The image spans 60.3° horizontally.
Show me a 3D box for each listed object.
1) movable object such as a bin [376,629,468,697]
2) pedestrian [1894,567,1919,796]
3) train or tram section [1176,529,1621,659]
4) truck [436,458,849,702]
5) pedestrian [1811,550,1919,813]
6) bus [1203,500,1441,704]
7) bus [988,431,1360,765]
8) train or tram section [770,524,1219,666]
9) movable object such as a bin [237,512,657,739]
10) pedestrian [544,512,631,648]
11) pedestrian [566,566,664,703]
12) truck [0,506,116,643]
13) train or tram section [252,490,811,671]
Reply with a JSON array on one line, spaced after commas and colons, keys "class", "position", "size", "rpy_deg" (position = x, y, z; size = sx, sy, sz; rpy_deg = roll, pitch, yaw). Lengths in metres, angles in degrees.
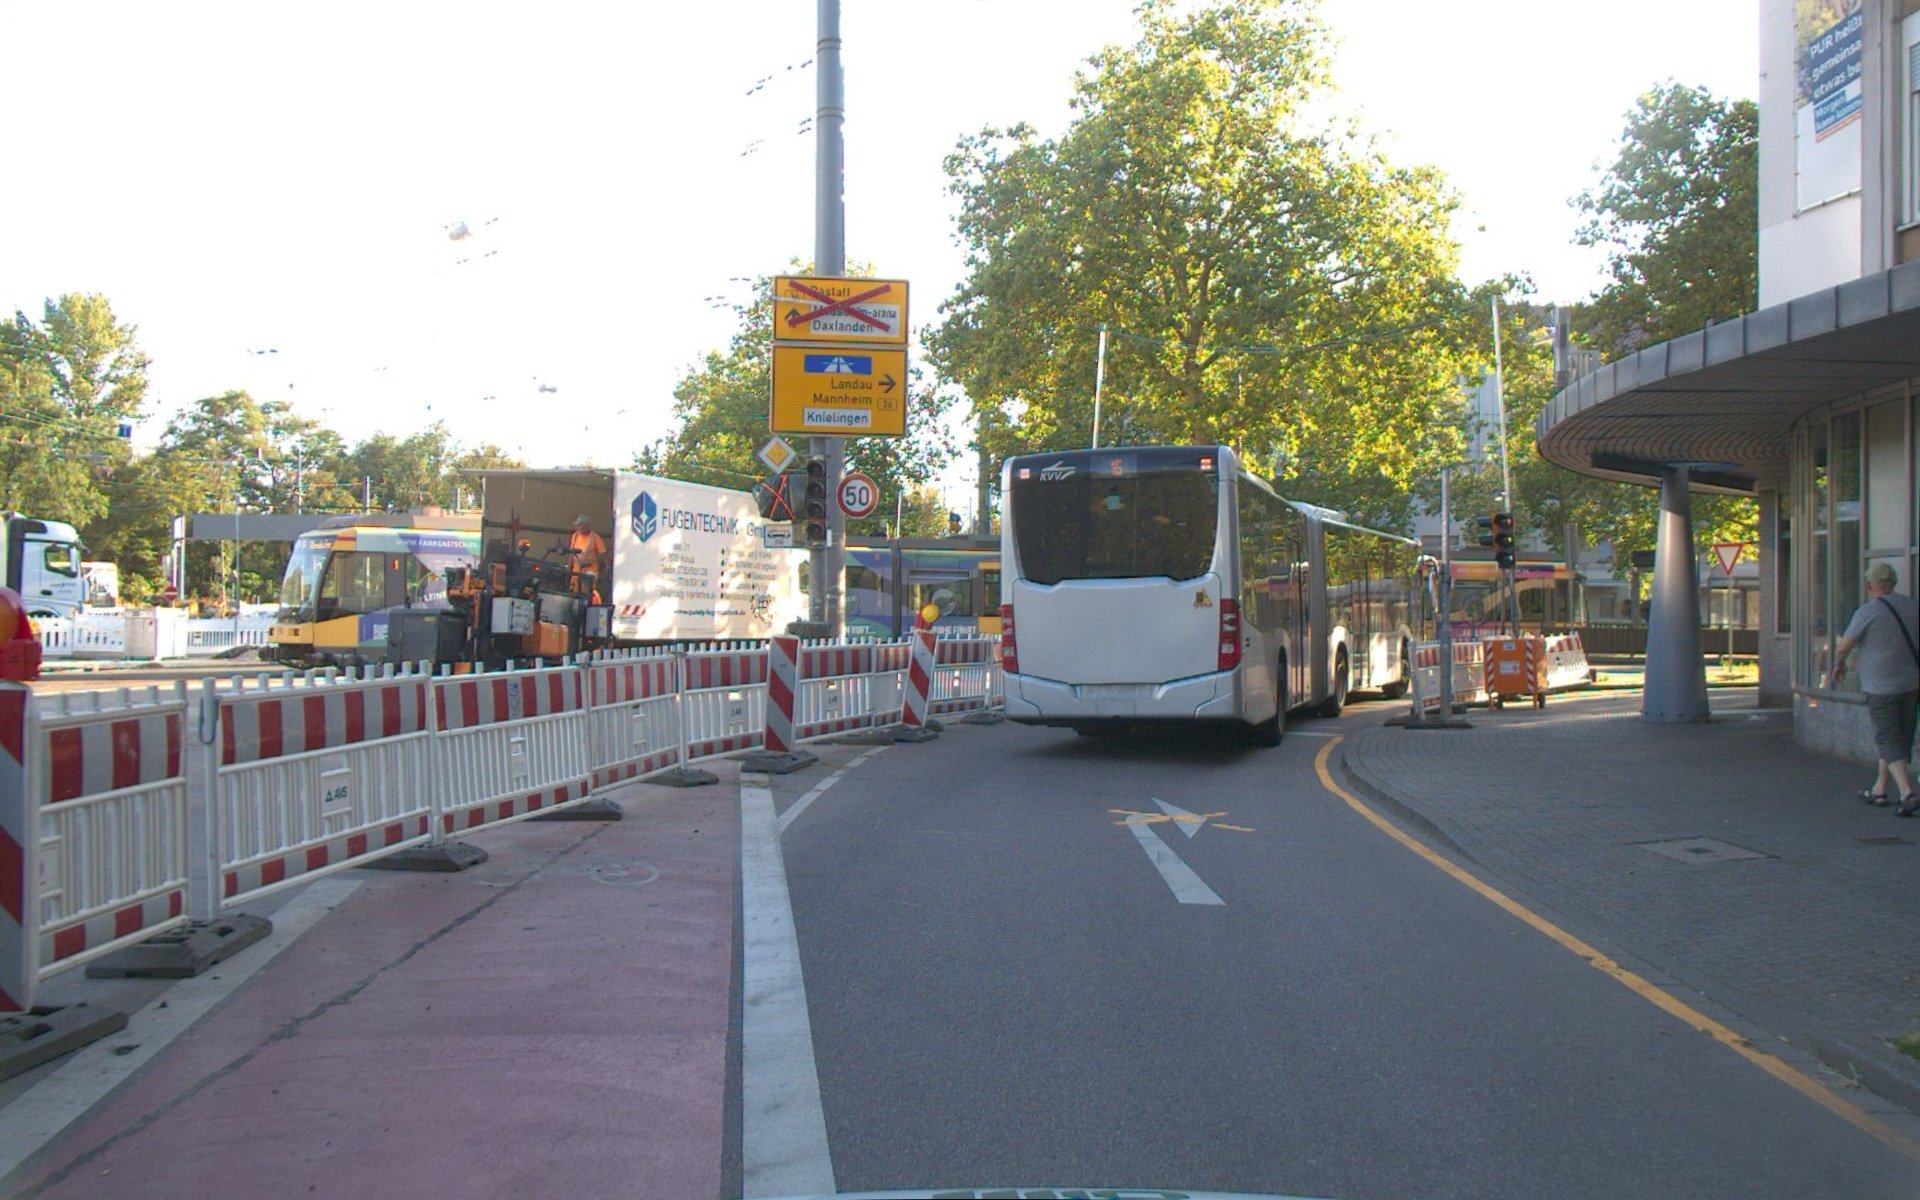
[{"class": "movable object such as a bin", "position": [-7.740, 0.896, 23.848], "size": [0.914, 0.933, 1.419], "rpy_deg": [1, -1, -3]}, {"class": "pedestrian", "position": [7.014, 0.565, 11.417], "size": [0.620, 1.601, 0.773], "rpy_deg": [-2, 1, -6]}, {"class": "train or tram section", "position": [13.162, -0.128, 49.719], "size": [13.047, 3.581, 2.643], "rpy_deg": [1, -1, -10]}, {"class": "truck", "position": [-5.119, -0.286, 29.093], "size": [2.754, 3.603, 8.983], "rpy_deg": [1, 0, 21]}, {"class": "pedestrian", "position": [6.379, 0.538, 11.409], "size": [0.571, 1.738, 0.678], "rpy_deg": [-2, 0, -6]}, {"class": "bus", "position": [6.904, 0.026, 30.349], "size": [2.654, 3.161, 8.977], "rpy_deg": [0, 0, 23]}, {"class": "bus", "position": [3.278, -0.019, 21.326], "size": [2.676, 3.194, 10.707], "rpy_deg": [0, 0, 19]}, {"class": "train or tram section", "position": [1.139, -0.013, 46.240], "size": [12.569, 3.611, 2.718], "rpy_deg": [1, -1, -23]}, {"class": "movable object such as a bin", "position": [-5.867, 0.258, 19.773], "size": [1.953, 2.296, 5.208], "rpy_deg": [2, 0, 21]}, {"class": "pedestrian", "position": [-5.738, -0.318, 25.538], "size": [0.917, 2.049, 1.002], "rpy_deg": [1, 1, 19]}, {"class": "pedestrian", "position": [-4.737, 0.460, 22.769], "size": [0.952, 1.829, 1.070], "rpy_deg": [1, 0, 11]}, {"class": "truck", "position": [-29.308, -0.748, 45.727], "size": [2.847, 3.856, 10.378], "rpy_deg": [0, -1, 40]}, {"class": "train or tram section", "position": [-9.345, -0.260, 38.702], "size": [2.808, 3.595, 13.312], "rpy_deg": [0, -1, 42]}]
